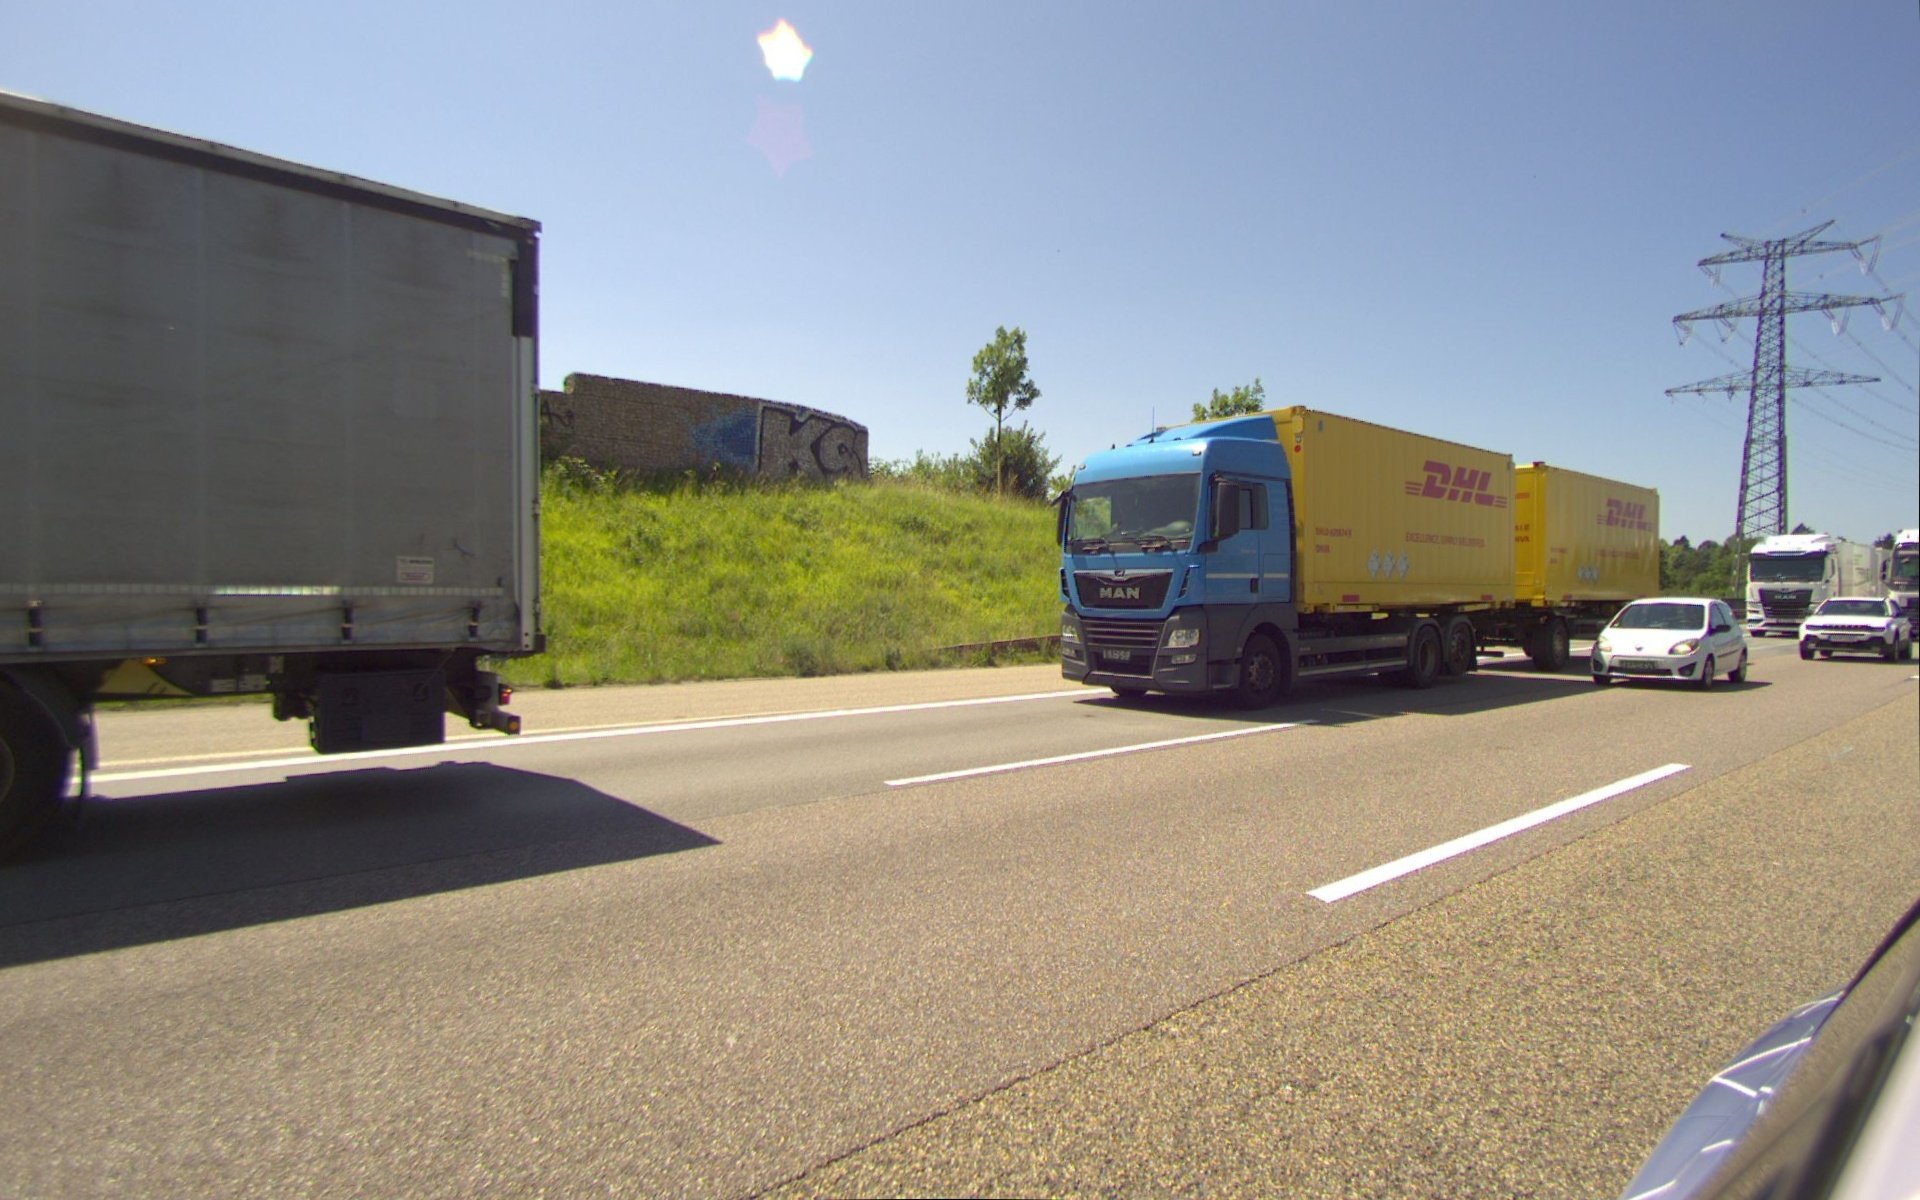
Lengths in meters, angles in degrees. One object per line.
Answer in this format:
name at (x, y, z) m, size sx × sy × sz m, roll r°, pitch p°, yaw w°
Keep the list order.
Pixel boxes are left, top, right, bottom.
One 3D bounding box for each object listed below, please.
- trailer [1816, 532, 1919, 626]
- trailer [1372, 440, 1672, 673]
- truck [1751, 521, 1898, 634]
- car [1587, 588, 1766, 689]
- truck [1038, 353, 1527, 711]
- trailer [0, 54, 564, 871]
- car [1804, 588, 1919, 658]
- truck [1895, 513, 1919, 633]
trailer at (41.865, -0.915, 46.421) m, size 7.636 × 3.991 × 2.750 m, roll 0°, pitch 0°, yaw -40°
trailer at (12.580, -0.762, 22.138) m, size 9.212 × 4.170 × 2.770 m, roll 0°, pitch 0°, yaw -41°
truck at (34.683, -0.838, 40.398) m, size 11.097 × 3.980 × 2.694 m, roll 0°, pitch 0°, yaw -40°
car at (12.391, 0.575, 17.426) m, size 3.759 × 1.529 × 1.658 m, roll -1°, pitch 1°, yaw -41°
truck at (5.636, -0.774, 16.026) m, size 9.779 × 4.162 × 2.770 m, roll 0°, pitch 0°, yaw -41°
trailer at (-8.783, -0.705, 3.630) m, size 13.509 × 4.101 × 2.968 m, roll 0°, pitch 0°, yaw -41°
car at (22.072, 0.496, 24.546) m, size 3.783 × 1.549 × 1.775 m, roll -1°, pitch 1°, yaw -39°
truck at (38.632, -0.930, 38.410) m, size 13.999 × 4.090 × 2.717 m, roll 0°, pitch 0°, yaw -39°
